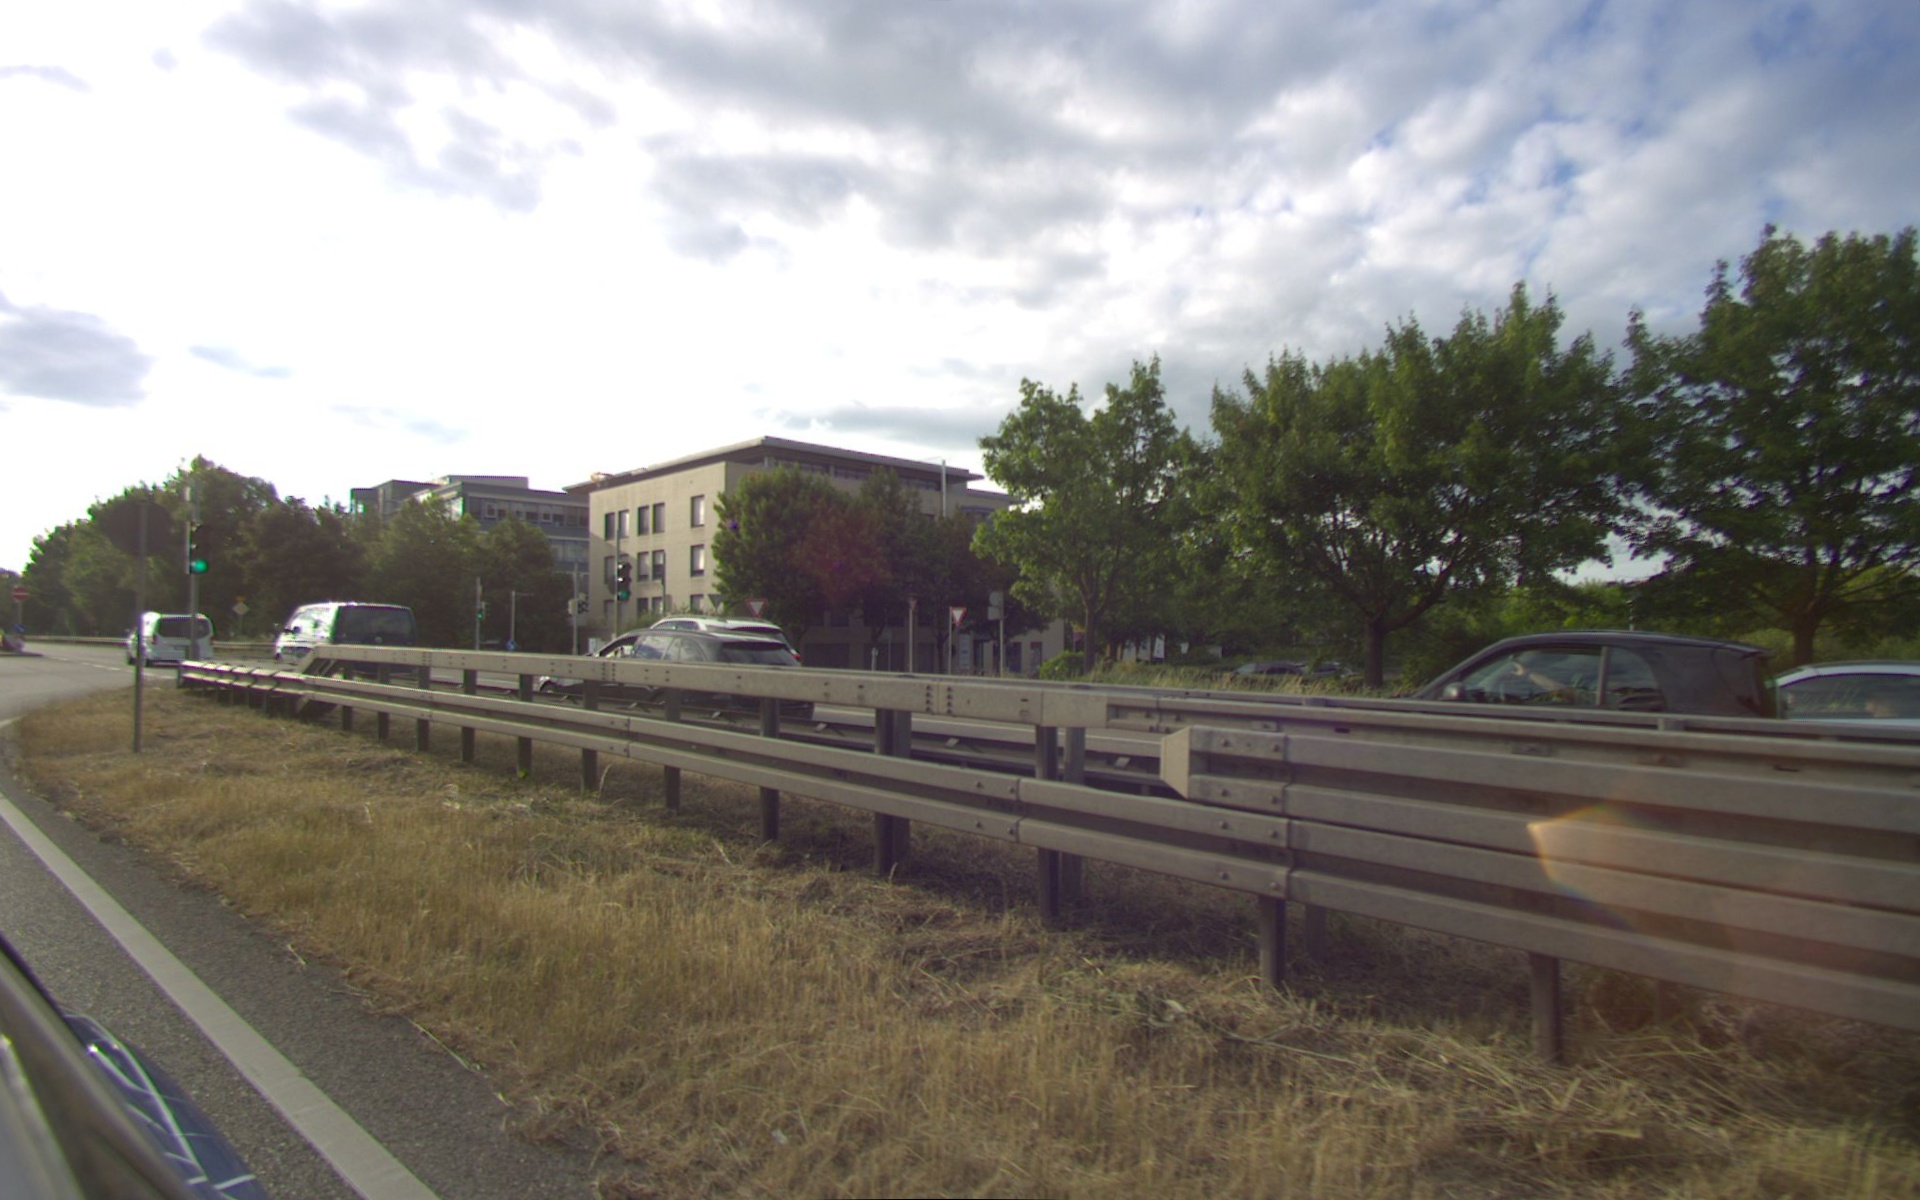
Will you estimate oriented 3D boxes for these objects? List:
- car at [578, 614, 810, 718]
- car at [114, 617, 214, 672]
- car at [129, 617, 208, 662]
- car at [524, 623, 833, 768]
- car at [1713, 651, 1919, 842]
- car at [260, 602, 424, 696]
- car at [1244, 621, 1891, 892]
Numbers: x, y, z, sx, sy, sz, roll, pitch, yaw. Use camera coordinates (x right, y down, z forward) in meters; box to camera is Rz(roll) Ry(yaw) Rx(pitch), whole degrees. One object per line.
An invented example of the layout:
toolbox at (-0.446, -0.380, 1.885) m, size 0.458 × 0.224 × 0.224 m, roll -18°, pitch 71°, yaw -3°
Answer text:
car at (-5.265, 1.227, 19.670) m, size 4.844 × 1.763 × 2.012 m, roll -1°, pitch -4°, yaw 42°
car at (-29.314, 1.594, 37.212) m, size 5.345 × 1.886 × 1.914 m, roll -1°, pitch -2°, yaw 41°
car at (-36.902, 1.820, 47.125) m, size 5.089 × 2.005 × 1.914 m, roll -1°, pitch -3°, yaw 41°
car at (-3.836, 1.117, 13.344) m, size 4.552 × 1.601 × 1.695 m, roll -1°, pitch -2°, yaw 41°
car at (7.817, 1.101, 7.684) m, size 3.307 × 1.364 × 1.415 m, roll -1°, pitch -2°, yaw 39°
car at (-14.334, 1.089, 23.330) m, size 5.050 × 1.931 × 1.878 m, roll -1°, pitch -3°, yaw 43°
car at (3.895, 0.862, 6.869) m, size 3.461 × 1.371 × 1.540 m, roll -2°, pitch -3°, yaw 41°
